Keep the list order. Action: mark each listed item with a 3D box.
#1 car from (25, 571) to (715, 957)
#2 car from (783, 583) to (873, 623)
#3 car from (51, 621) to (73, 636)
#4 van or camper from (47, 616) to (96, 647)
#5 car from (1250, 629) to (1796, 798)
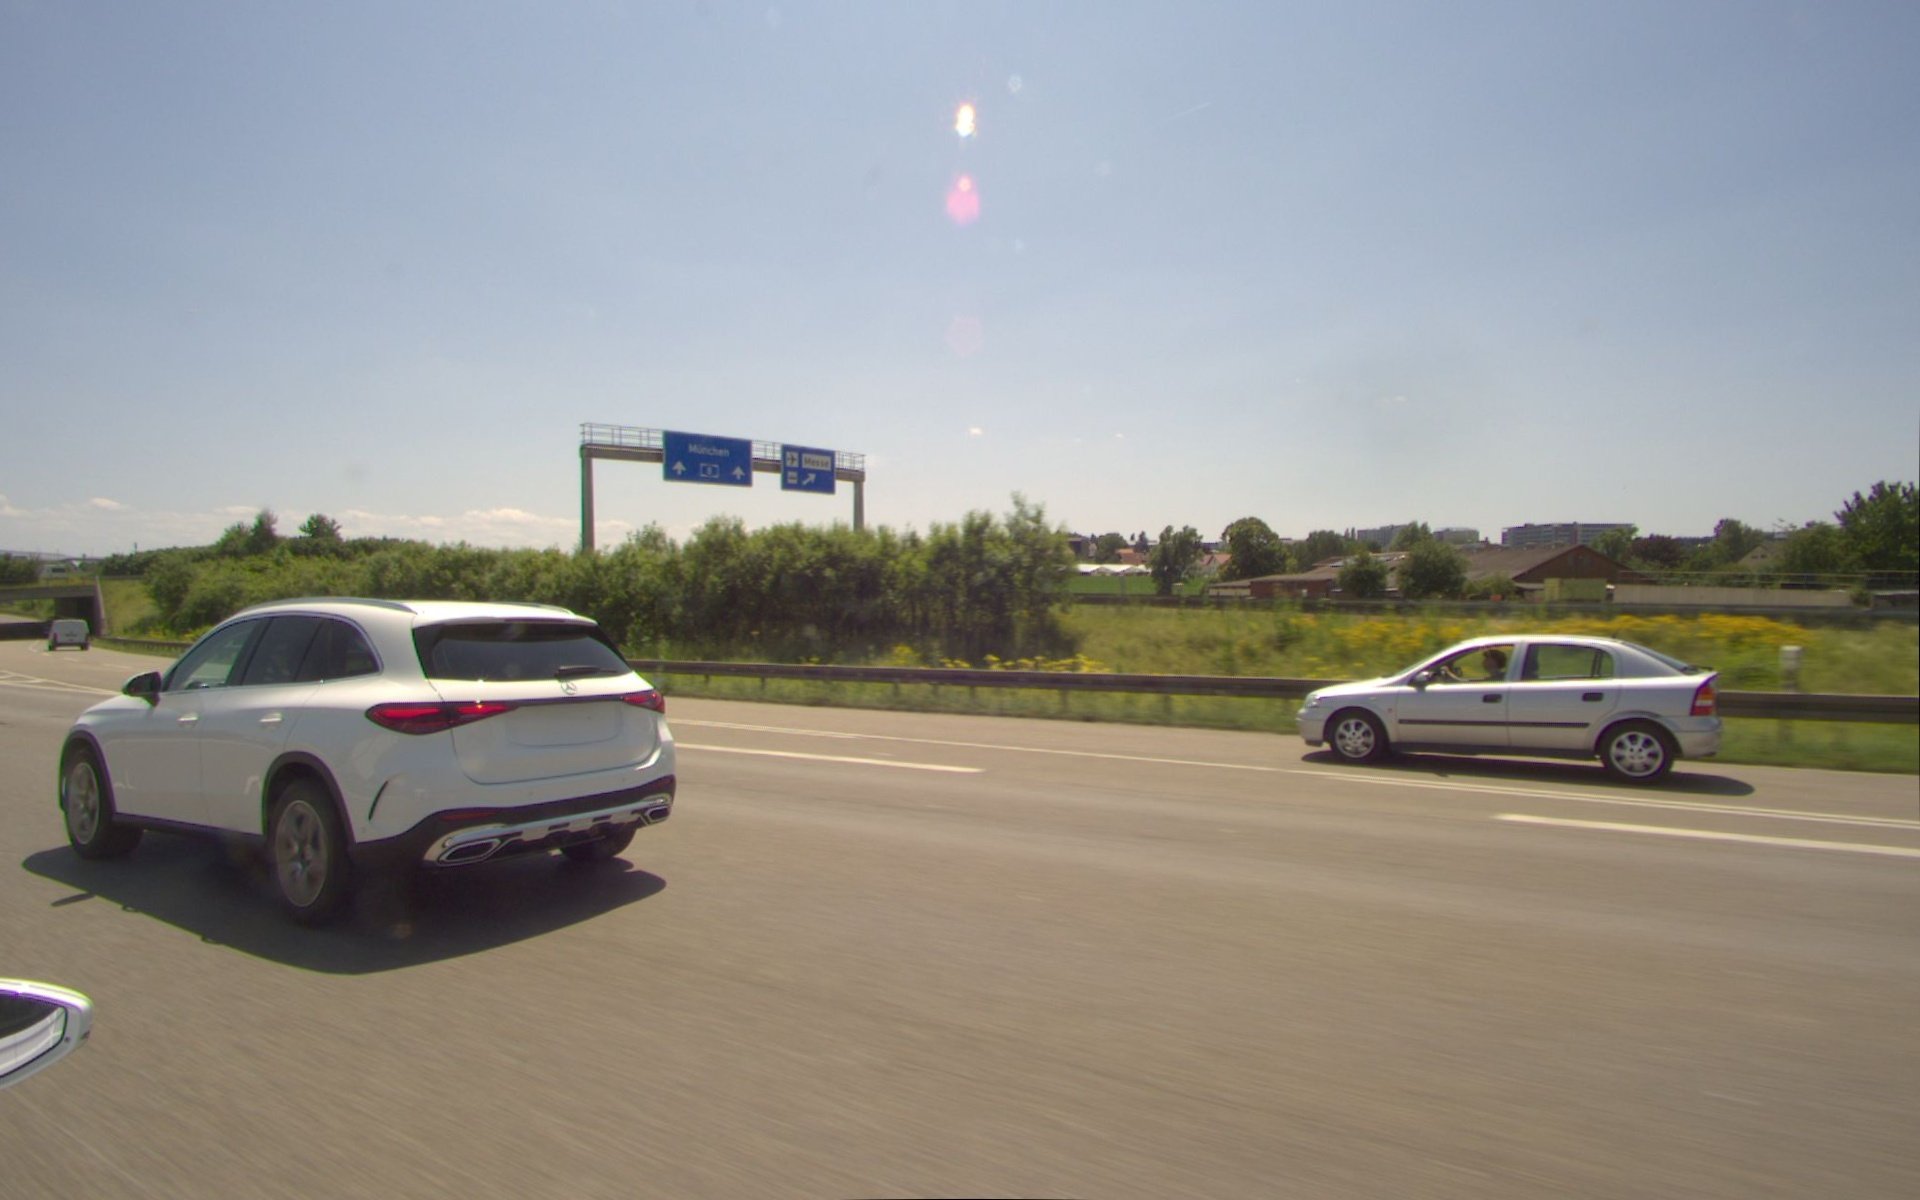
[{"bbox_3d":[-4.027,0.797,6.498,4.929,1.668,1.894,-2,-2,33],"label":"car"},{"bbox_3d":[-5.830,0.158,43.973,4.083,1.595,1.691,-2,-2,42],"label":"car"},{"bbox_3d":[-109.728,3.472,122.357,1.980,1.772,3.963,0,-2,-43],"label":"car"},{"bbox_3d":[-59.631,2.124,67.189,4.260,2.039,2.143,-2,-2,44],"label":"van or camper"},{"bbox_3d":[5.771,1.072,10.787,4.783,1.455,1.781,-2,-2,35],"label":"car"}]
